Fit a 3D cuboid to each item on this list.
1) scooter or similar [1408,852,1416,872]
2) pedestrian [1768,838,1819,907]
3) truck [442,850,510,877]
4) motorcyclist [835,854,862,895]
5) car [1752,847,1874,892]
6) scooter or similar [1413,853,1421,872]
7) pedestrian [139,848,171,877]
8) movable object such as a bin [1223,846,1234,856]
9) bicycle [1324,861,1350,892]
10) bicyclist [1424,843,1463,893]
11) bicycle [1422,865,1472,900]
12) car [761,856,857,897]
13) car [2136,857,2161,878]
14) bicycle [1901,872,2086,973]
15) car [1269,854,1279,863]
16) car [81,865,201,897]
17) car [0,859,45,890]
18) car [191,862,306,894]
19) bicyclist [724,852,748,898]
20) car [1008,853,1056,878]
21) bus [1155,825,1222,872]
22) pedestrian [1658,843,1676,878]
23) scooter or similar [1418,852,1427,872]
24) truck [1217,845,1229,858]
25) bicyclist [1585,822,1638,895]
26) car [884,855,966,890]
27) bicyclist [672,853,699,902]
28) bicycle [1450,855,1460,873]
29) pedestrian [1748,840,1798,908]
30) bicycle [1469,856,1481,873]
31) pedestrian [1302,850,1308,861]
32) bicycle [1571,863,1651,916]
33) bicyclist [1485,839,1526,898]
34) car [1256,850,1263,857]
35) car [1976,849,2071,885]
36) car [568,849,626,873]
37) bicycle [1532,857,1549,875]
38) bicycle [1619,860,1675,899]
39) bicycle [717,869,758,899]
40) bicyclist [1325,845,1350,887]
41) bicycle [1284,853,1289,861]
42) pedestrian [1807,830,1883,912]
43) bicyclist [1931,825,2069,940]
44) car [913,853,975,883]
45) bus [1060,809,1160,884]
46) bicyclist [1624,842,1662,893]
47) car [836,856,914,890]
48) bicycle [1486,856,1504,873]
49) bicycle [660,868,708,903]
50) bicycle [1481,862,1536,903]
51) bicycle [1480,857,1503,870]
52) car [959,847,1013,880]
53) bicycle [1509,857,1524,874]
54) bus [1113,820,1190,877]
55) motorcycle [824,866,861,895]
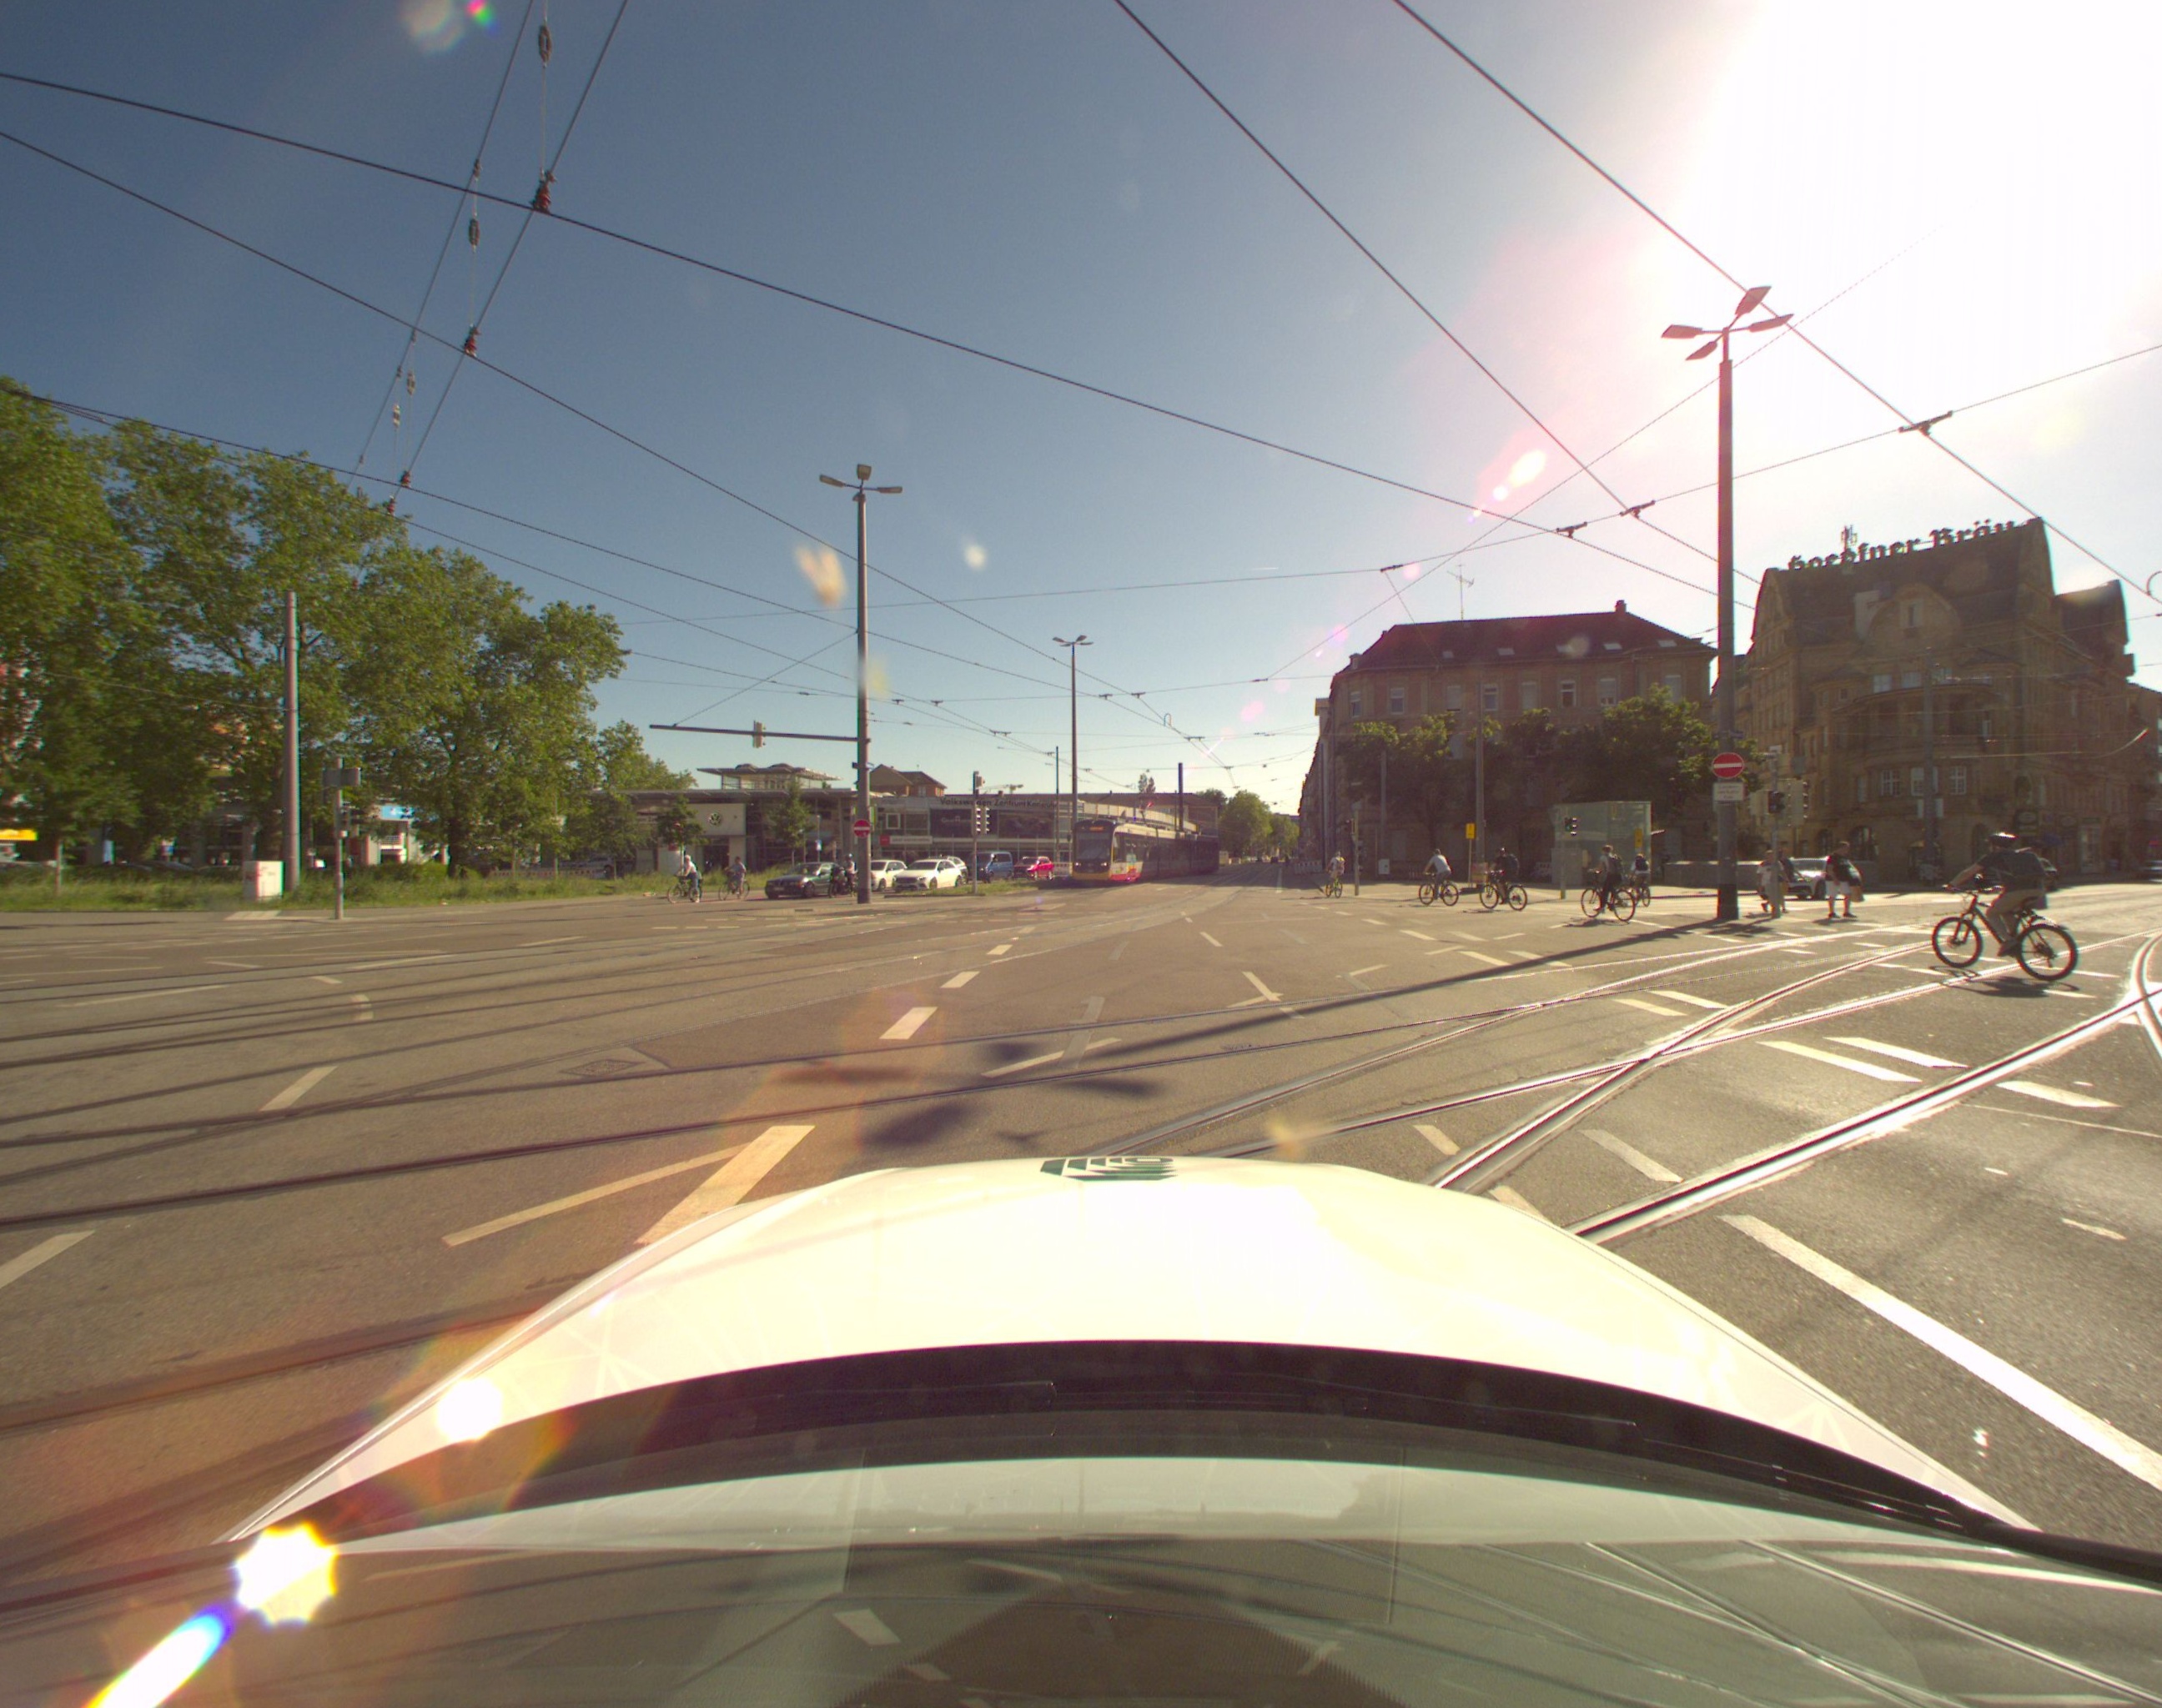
[{"bbox_3d":[20.790,0.504,51.213,0.268,1.185,1.571,1,0,15],"label":"scooter or similar"},{"bbox_3d":[18.773,0.475,21.469,0.655,1.757,0.826,1,0,10],"label":"pedestrian"},{"bbox_3d":[-51.280,0.786,69.092,4.189,2.221,2.000,1,0,0],"label":"truck"},{"bbox_3d":[-9.060,0.781,31.726,0.581,1.580,0.947,-1,-1,16],"label":"motorcyclist"},{"bbox_3d":[28.006,0.587,31.154,4.257,1.621,1.903,0,-1,-24],"label":"car"},{"bbox_3d":[21.098,0.511,51.147,0.268,1.185,1.571,1,0,15],"label":"scooter or similar"},{"bbox_3d":[-66.117,0.587,58.188,1.111,2.014,1.167,1,0,-27],"label":"pedestrian"},{"bbox_3d":[37.852,-0.769,208.740,2.479,2.645,6.008,1,0,11],"label":"movable object such as a bin"},{"bbox_3d":[10.311,0.894,32.890,0.529,1.117,1.936,1,2,4],"label":"bicycle"},{"bbox_3d":[11.801,0.435,26.540,0.783,1.593,0.882,0,0,-13],"label":"bicyclist"},{"bbox_3d":[11.854,0.908,26.435,0.386,1.069,1.924,-1,0,-14],"label":"bicycle"},{"bbox_3d":[-10.689,0.849,32.309,1.637,1.479,3.986,-2,0,15],"label":"car"},{"bbox_3d":[85.765,1.088,64.734,4.027,1.621,1.737,0,-1,-29],"label":"car"},{"bbox_3d":[11.999,0.851,10.807,0.529,1.158,1.869,0,0,7],"label":"bicycle"},{"bbox_3d":[44.277,1.081,186.740,1.979,2.013,4.015,1,0,14],"label":"car"},{"bbox_3d":[-50.941,1.461,44.207,3.842,1.630,1.995,0,-1,-8],"label":"car"},{"bbox_3d":[-54.874,1.043,40.266,4.005,1.499,1.984,-1,0,-24],"label":"car"},{"bbox_3d":[-44.678,1.268,43.781,3.842,1.630,1.995,0,-1,-8],"label":"car"},{"bbox_3d":[-13.322,0.805,31.450,0.570,1.742,0.604,1,2,14],"label":"bicyclist"},{"bbox_3d":[-3.418,0.802,57.696,1.784,1.719,4.438,-1,-1,20],"label":"car"},{"bbox_3d":[9.076,-0.443,67.382,2.816,3.589,11.330,0,0,22],"label":"bus"},{"bbox_3d":[31.273,0.356,43.447,0.651,1.849,0.542,1,-1,-28],"label":"pedestrian"},{"bbox_3d":[21.416,0.504,51.061,0.268,1.196,1.571,1,0,15],"label":"scooter or similar"},{"bbox_3d":[31.176,-0.523,178.346,2.522,2.830,6.394,1,0,10],"label":"truck"},{"bbox_3d":[12.096,0.099,18.591,0.548,1.613,0.952,1,0,-1],"label":"bicyclist"},{"bbox_3d":[-6.901,0.797,36.526,1.789,1.432,4.558,1,0,15],"label":"car"},{"bbox_3d":[-14.531,0.850,29.922,0.570,1.742,0.681,1,1,15],"label":"bicyclist"},{"bbox_3d":[23.322,0.615,50.776,0.400,1.061,1.490,1,0,19],"label":"bicycle"},{"bbox_3d":[17.731,0.505,20.885,0.655,1.677,0.826,1,0,10],"label":"pedestrian"},{"bbox_3d":[24.488,0.655,50.569,0.400,1.061,1.357,1,0,15],"label":"bicycle"},{"bbox_3d":[32.792,0.188,119.371,0.792,1.605,0.655,-1,-1,16],"label":"pedestrian"},{"bbox_3d":[12.083,0.788,18.638,0.530,1.117,1.933,1,0,-1],"label":"bicycle"},{"bbox_3d":[11.969,0.393,22.983,0.621,1.613,0.981,1,0,2],"label":"bicyclist"},{"bbox_3d":[47.608,-0.139,217.249,1.746,1.697,4.160,1,0,15],"label":"car"},{"bbox_3d":[46.413,0.633,40.091,4.257,1.687,1.903,0,-1,-24],"label":"car"},{"bbox_3d":[-43.775,0.630,73.744,3.982,2.014,1.996,1,0,-6],"label":"car"},{"bbox_3d":[28.047,0.725,49.712,0.401,1.061,1.465,1,0,8],"label":"bicycle"},{"bbox_3d":[18.082,0.796,26.067,0.529,1.117,1.936,1,2,4],"label":"bicycle"},{"bbox_3d":[-13.306,1.147,31.569,0.534,1.074,1.661,-1,1,14],"label":"bicycle"},{"bbox_3d":[10.319,0.474,32.815,0.678,1.683,1.121,1,0,4],"label":"bicyclist"},{"bbox_3d":[29.363,0.464,116.219,0.676,1.114,2.717,1,0,14],"label":"bicycle"},{"bbox_3d":[18.621,0.399,19.886,0.925,1.929,1.052,1,0,10],"label":"pedestrian"},{"bbox_3d":[11.986,0.353,10.665,0.670,1.421,1.038,1,0,6],"label":"bicyclist"},{"bbox_3d":[-7.516,0.760,45.028,1.789,1.578,4.181,-1,-1,15],"label":"car"},{"bbox_3d":[2.047,-0.389,46.229,2.820,3.589,13.548,0,0,14],"label":"bus"},{"bbox_3d":[18.067,0.431,26.212,0.595,1.613,0.954,1,0,5],"label":"bicyclist"},{"bbox_3d":[-9.553,0.850,38.150,1.789,1.432,4.016,1,0,15],"label":"car"},{"bbox_3d":[25.544,0.650,50.268,0.402,1.061,1.351,1,0,-1],"label":"bicycle"},{"bbox_3d":[-14.545,1.135,29.892,0.534,1.184,1.760,-1,1,14],"label":"bicycle"},{"bbox_3d":[12.072,0.786,23.043,0.530,1.117,1.933,0,-1,0],"label":"bicycle"},{"bbox_3d":[28.343,0.668,56.208,1.406,0.856,0.406,1,0,21],"label":"bicycle"},{"bbox_3d":[-5.799,0.606,50.351,1.789,1.933,4.183,-1,-1,16],"label":"car"},{"bbox_3d":[26.984,0.702,50.460,0.400,1.061,1.466,1,0,10],"label":"bicycle"},{"bbox_3d":[5.164,-0.381,56.970,2.817,3.589,10.778,0,0,19],"label":"bus"},{"bbox_3d":[-9.168,1.003,31.376,0.514,1.047,1.754,-1,0,16],"label":"motorcycle"}]
